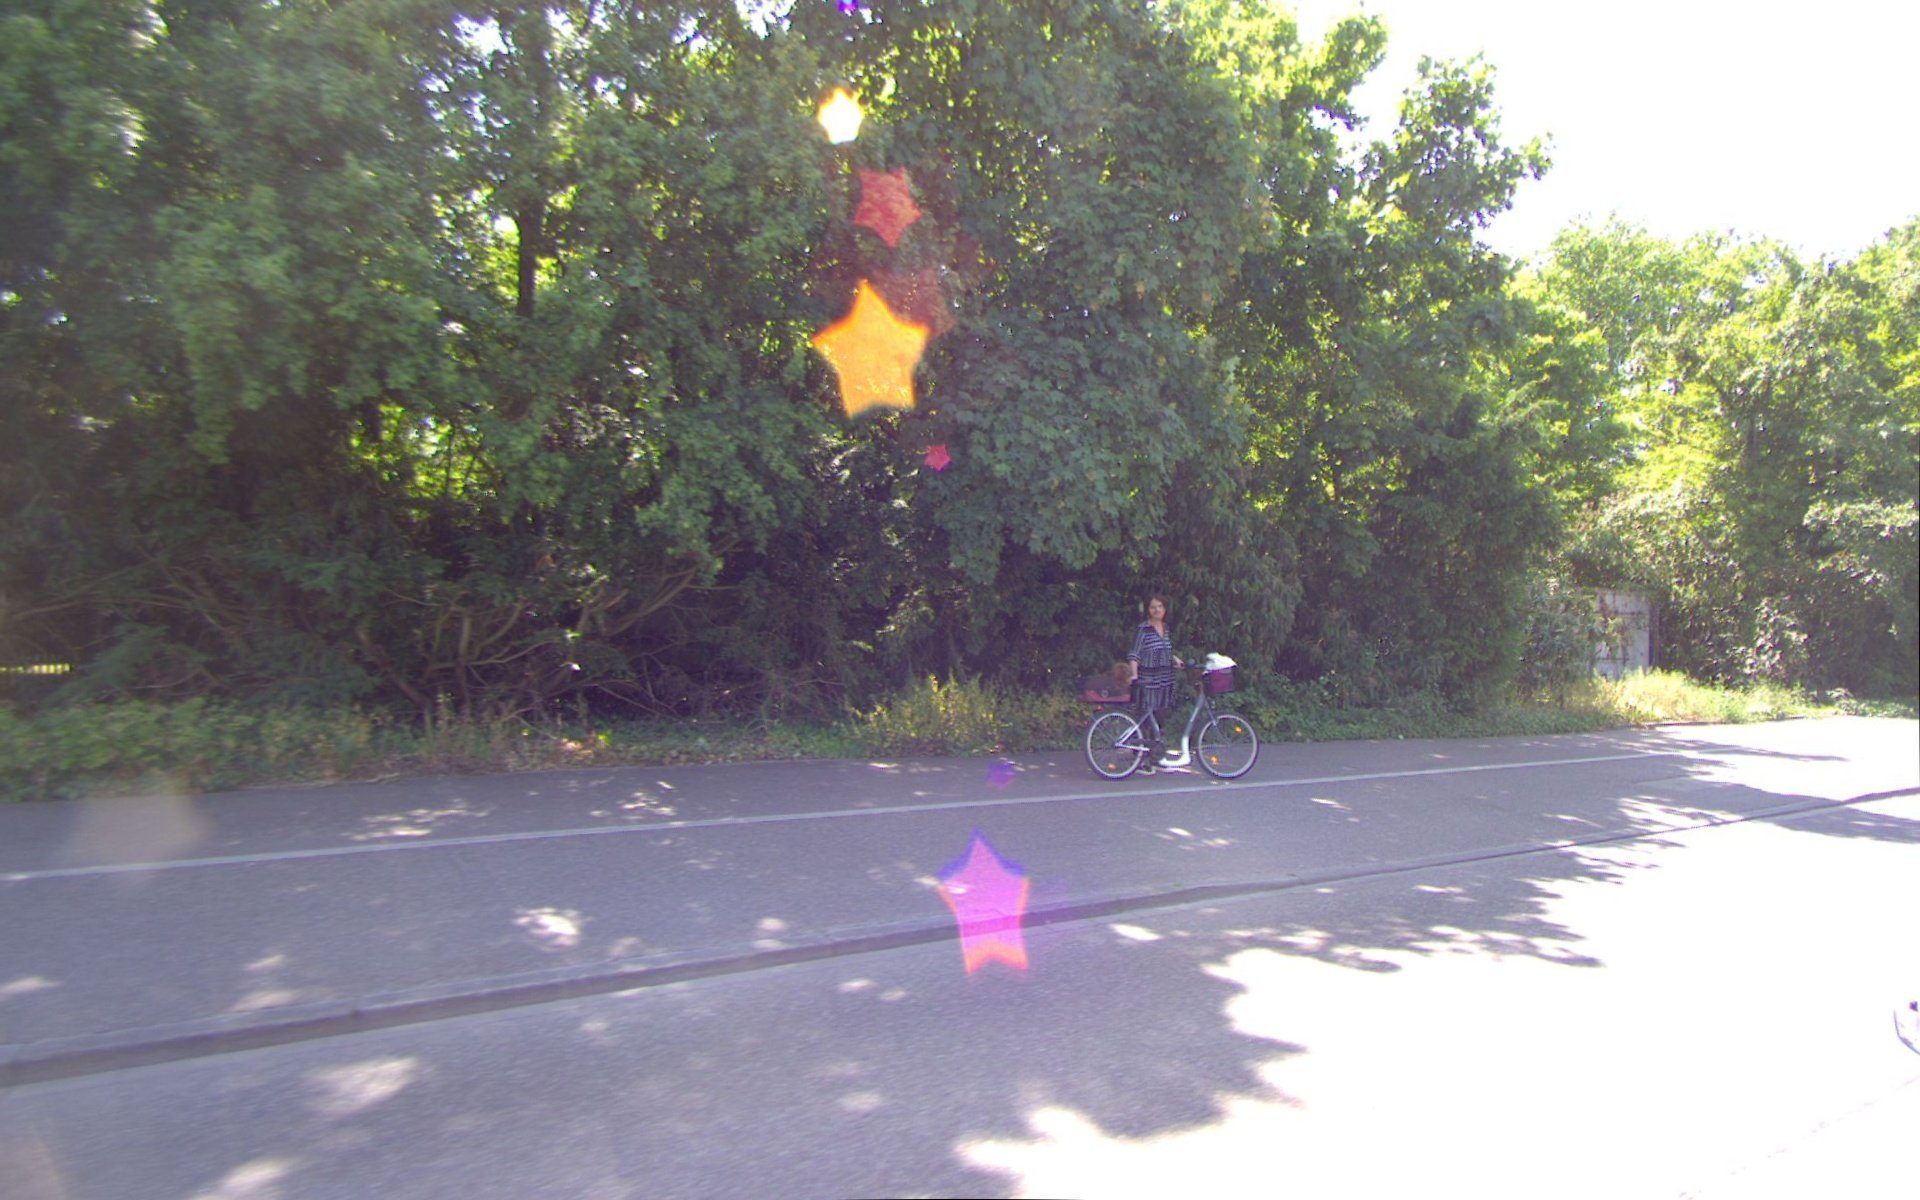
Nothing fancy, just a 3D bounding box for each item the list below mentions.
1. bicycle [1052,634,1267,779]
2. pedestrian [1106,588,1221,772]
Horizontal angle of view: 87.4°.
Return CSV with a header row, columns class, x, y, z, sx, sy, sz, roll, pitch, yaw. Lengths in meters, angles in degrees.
class,x,y,z,sx,sy,sz,roll,pitch,yaw
bicycle,1.915,1.024,9.616,1.930,1.253,0.521,4,0,-18
pedestrian,2.019,0.773,10.036,0.764,1.741,0.808,3,0,-14
